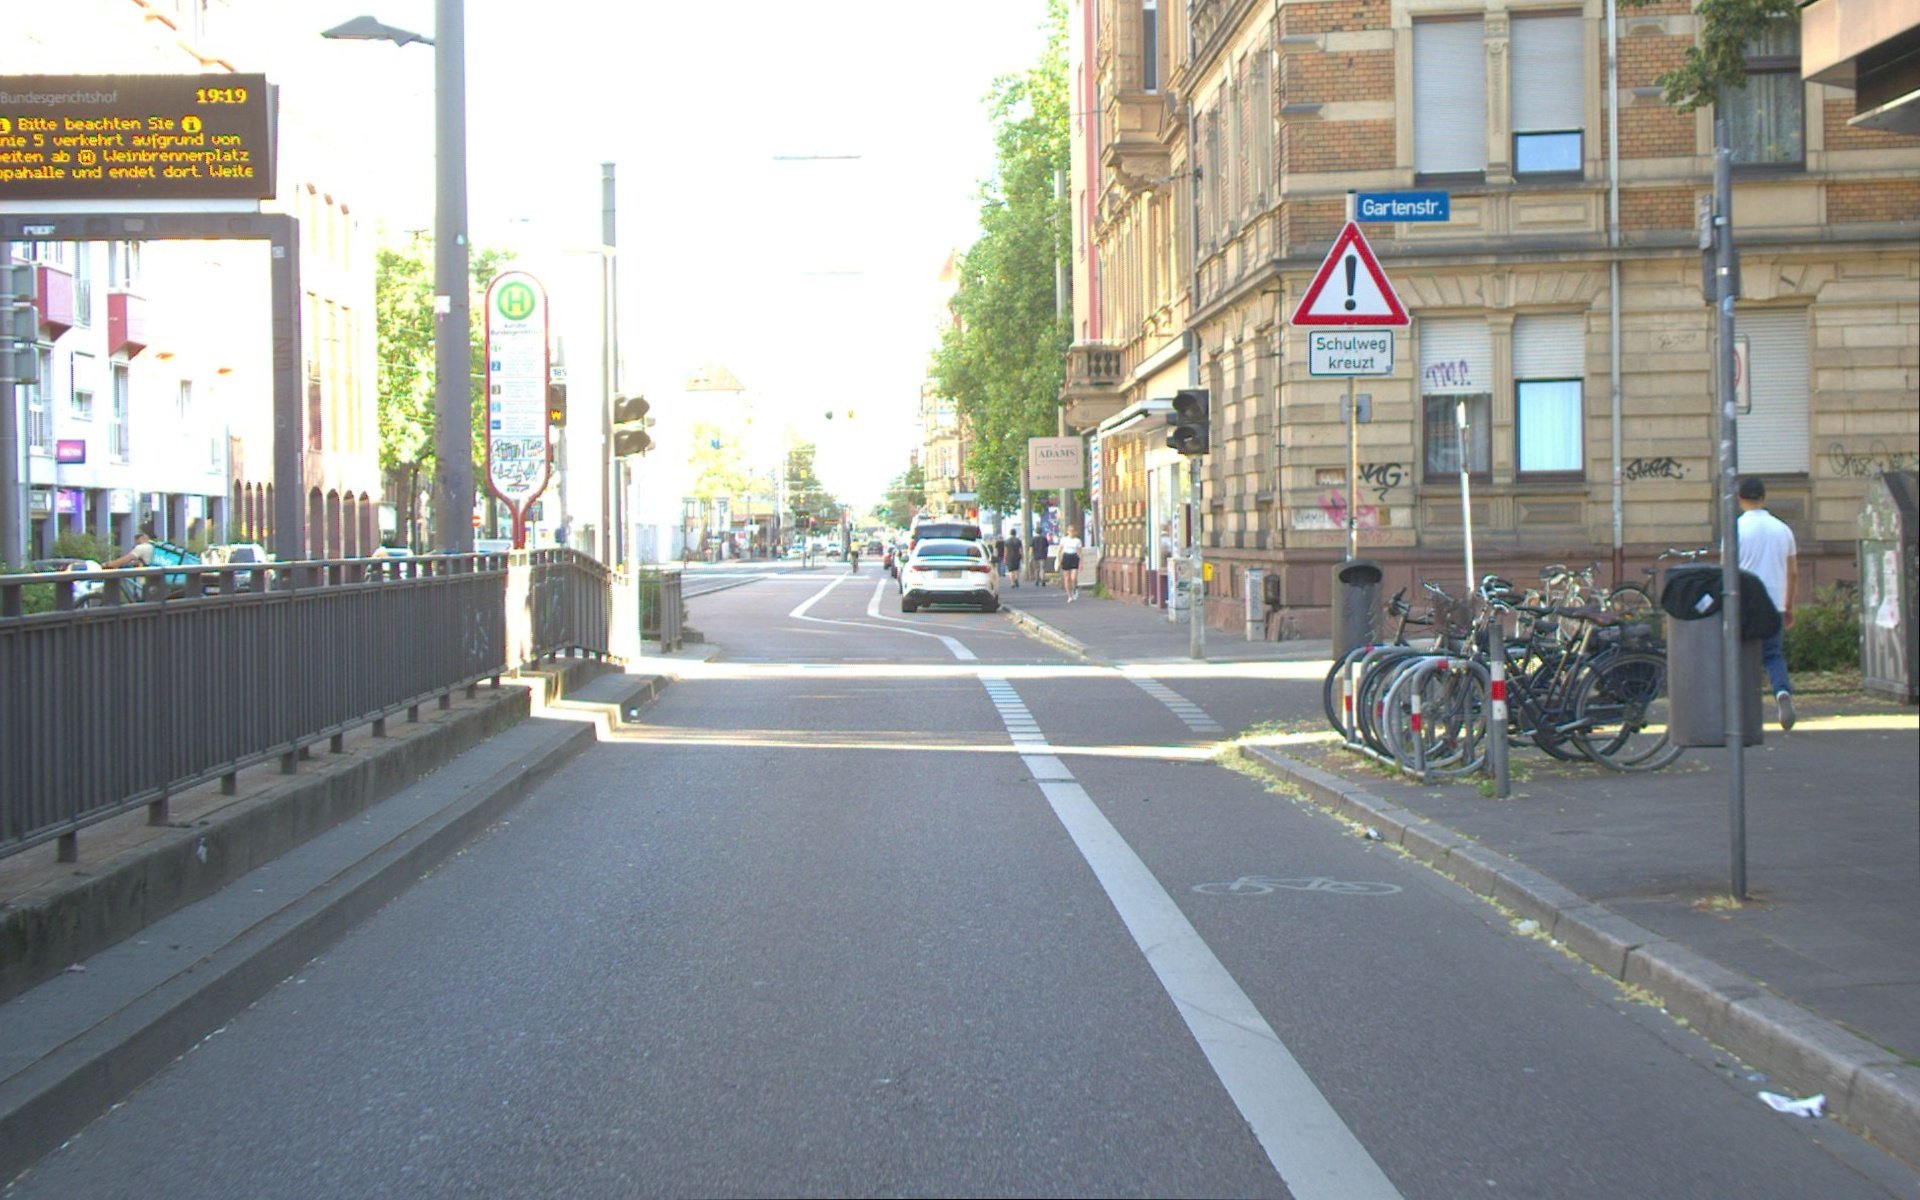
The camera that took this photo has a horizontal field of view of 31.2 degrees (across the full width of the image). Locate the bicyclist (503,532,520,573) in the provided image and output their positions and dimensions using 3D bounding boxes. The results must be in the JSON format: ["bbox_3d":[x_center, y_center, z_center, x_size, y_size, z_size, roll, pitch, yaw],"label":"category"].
[{"bbox_3d":[-19.344,-2.049,148.297,0.571,1.706,0.746,-2,1,-3],"label":"bicyclist"}]

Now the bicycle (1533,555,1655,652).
[{"bbox_3d":[6.981,0.025,37.927,0.417,1.021,1.908,-1,1,-20],"label":"bicycle"}]

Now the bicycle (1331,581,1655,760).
[{"bbox_3d":[3.226,0.417,20.905,1.833,1.050,0.718,0,1,-4],"label":"bicycle"}]

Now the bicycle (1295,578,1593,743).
[{"bbox_3d":[3.167,0.388,22.579,1.833,1.050,0.710,0,1,-4],"label":"bicycle"}]

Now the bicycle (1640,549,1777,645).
[{"bbox_3d":[8.261,-0.051,38.027,0.495,1.021,1.908,-1,1,-22],"label":"bicycle"}]

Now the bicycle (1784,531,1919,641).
[{"bbox_3d":[10.063,-0.171,38.060,0.613,1.178,2.107,-1,1,-27],"label":"bicycle"}]

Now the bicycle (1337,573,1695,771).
[{"bbox_3d":[3.252,0.410,20.175,1.970,1.101,0.614,-1,1,-4],"label":"bicycle"}]

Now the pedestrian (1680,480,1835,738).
[{"bbox_3d":[5.294,0.040,22.870,0.783,1.660,1.033,0,3,0],"label":"pedestrian"}]

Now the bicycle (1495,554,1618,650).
[{"bbox_3d":[6.570,0.009,37.922,0.451,1.021,1.908,-1,1,-20],"label":"bicycle"}]

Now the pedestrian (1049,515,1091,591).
[{"bbox_3d":[2.341,-1.001,73.255,0.776,1.561,0.914,-4,1,2],"label":"pedestrian"}]

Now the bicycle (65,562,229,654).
[{"bbox_3d":[-10.195,0.095,43.142,1.893,1.074,0.584,2,1,1],"label":"bicycle"}]

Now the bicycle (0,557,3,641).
[{"bbox_3d":[-13.207,-0.042,43.707,1.893,1.074,0.584,2,1,-26],"label":"bicycle"}]

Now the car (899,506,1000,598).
[{"bbox_3d":[-0.223,-0.975,69.939,1.966,1.765,4.875,1,1,0],"label":"car"}]

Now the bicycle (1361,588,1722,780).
[{"bbox_3d":[3.287,0.465,19.520,1.913,1.044,0.681,0,1,-4],"label":"bicycle"}]

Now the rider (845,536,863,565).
[{"bbox_3d":[-5.482,-2.585,178.064,0.883,1.476,0.713,1,1,0],"label":"rider"}]

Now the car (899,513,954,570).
[{"bbox_3d":[-1.235,-2.173,127.691,1.971,2.007,4.558,-2,1,0],"label":"car"}]

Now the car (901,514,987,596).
[{"bbox_3d":[-0.367,-1.078,81.946,1.955,1.862,4.989,1,1,0],"label":"car"}]

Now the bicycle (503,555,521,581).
[{"bbox_3d":[-19.323,-1.395,148.215,0.582,1.074,2.186,-2,1,-3],"label":"bicycle"}]

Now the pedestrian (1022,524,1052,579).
[{"bbox_3d":[2.280,-1.447,101.892,0.776,1.561,0.914,-4,1,0],"label":"pedestrian"}]

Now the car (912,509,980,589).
[{"bbox_3d":[-0.358,-1.361,92.671,1.705,2.112,3.706,0,0,2],"label":"car"}]

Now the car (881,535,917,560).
[{"bbox_3d":[-3.685,-3.155,206.009,2.065,1.384,4.225,2,1,-1],"label":"car"}]

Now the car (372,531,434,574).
[{"bbox_3d":[-20.617,-1.775,127.379,1.869,1.594,4.255,0,1,-4],"label":"car"}]

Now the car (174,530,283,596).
[{"bbox_3d":[-19.832,-0.985,93.412,2.090,1.707,4.819,1,0,-2],"label":"car"}]

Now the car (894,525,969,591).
[{"bbox_3d":[-0.842,-1.198,97.842,1.949,1.782,5.182,1,1,-2],"label":"car"}]

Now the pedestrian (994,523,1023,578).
[{"bbox_3d":[1.439,-1.477,101.995,0.776,1.561,0.914,-4,1,0],"label":"pedestrian"}]

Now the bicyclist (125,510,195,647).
[{"bbox_3d":[-10.032,-0.276,43.113,0.743,1.706,0.534,0,1,0],"label":"bicyclist"}]
